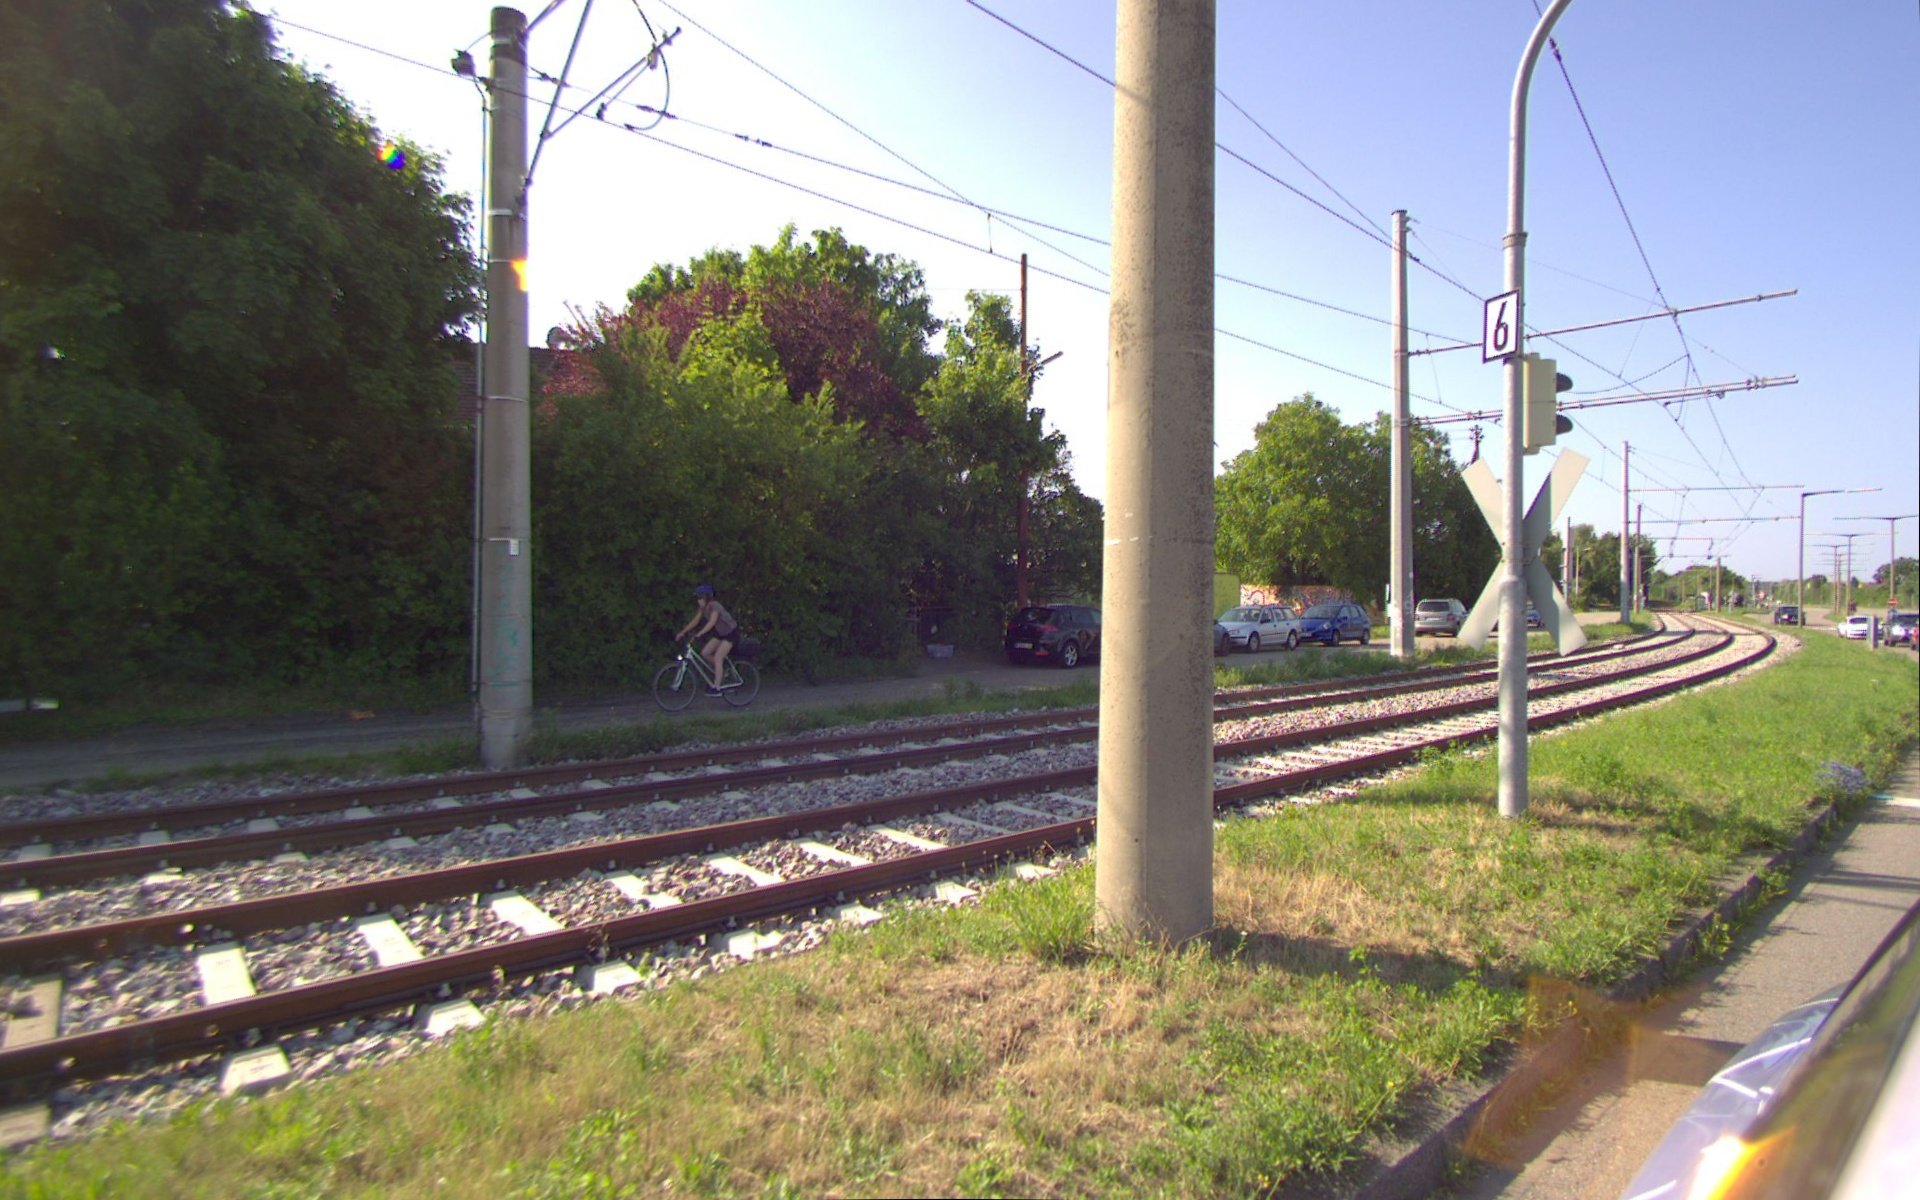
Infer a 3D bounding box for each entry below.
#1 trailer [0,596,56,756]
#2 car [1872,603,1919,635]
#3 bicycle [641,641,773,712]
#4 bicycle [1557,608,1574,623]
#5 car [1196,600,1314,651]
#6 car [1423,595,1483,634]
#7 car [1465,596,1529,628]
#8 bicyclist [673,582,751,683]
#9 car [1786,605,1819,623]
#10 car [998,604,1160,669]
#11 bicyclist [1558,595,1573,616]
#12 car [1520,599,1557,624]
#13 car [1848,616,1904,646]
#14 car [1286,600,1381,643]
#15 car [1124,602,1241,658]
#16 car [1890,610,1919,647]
[{"bbox_3d":[-11.730,0.804,9.898,4.183,1.617,2.030,0,-2,-39],"label":"trailer"},{"bbox_3d":[47.152,0.953,50.773,1.598,1.532,4.212,-1,-1,36],"label":"car"},{"bbox_3d":[-3.694,1.094,14.879,1.812,0.921,0.643,0,-1,-43],"label":"bicycle"},{"bbox_3d":[36.189,0.912,60.474,0.641,0.921,1.788,-1,-1,38],"label":"bicycle"},{"bbox_3d":[9.352,0.761,31.911,1.710,1.484,4.318,1,0,45],"label":"car"},{"bbox_3d":[21.734,0.614,44.544,1.519,1.630,4.422,1,1,38],"label":"car"},{"bbox_3d":[28.723,0.616,54.100,1.906,1.610,4.654,2,1,42],"label":"car"},{"bbox_3d":[-3.655,0.461,14.927,0.946,1.440,0.630,1,-1,-42],"label":"bicyclist"},{"bbox_3d":[73.276,1.206,88.039,1.826,1.532,4.100,-1,-1,35],"label":"car"},{"bbox_3d":[2.973,0.819,24.580,1.621,1.428,4.452,-1,-1,42],"label":"car"},{"bbox_3d":[36.196,0.322,60.487,0.638,1.249,0.780,-1,-1,38],"label":"bicyclist"},{"bbox_3d":[36.251,0.726,63.370,1.530,1.466,4.077,1,1,36],"label":"car"},{"bbox_3d":[55.140,1.826,60.978,1.956,1.639,4.254,0,0,35],"label":"car"},{"bbox_3d":[13.398,0.763,36.199,3.845,1.448,1.679,1,-2,-44],"label":"car"},{"bbox_3d":[6.242,0.777,28.145,1.482,1.419,4.090,1,0,40],"label":"car"},{"bbox_3d":[42.860,1.240,45.027,1.839,1.617,3.687,-2,-1,38],"label":"car"}]
